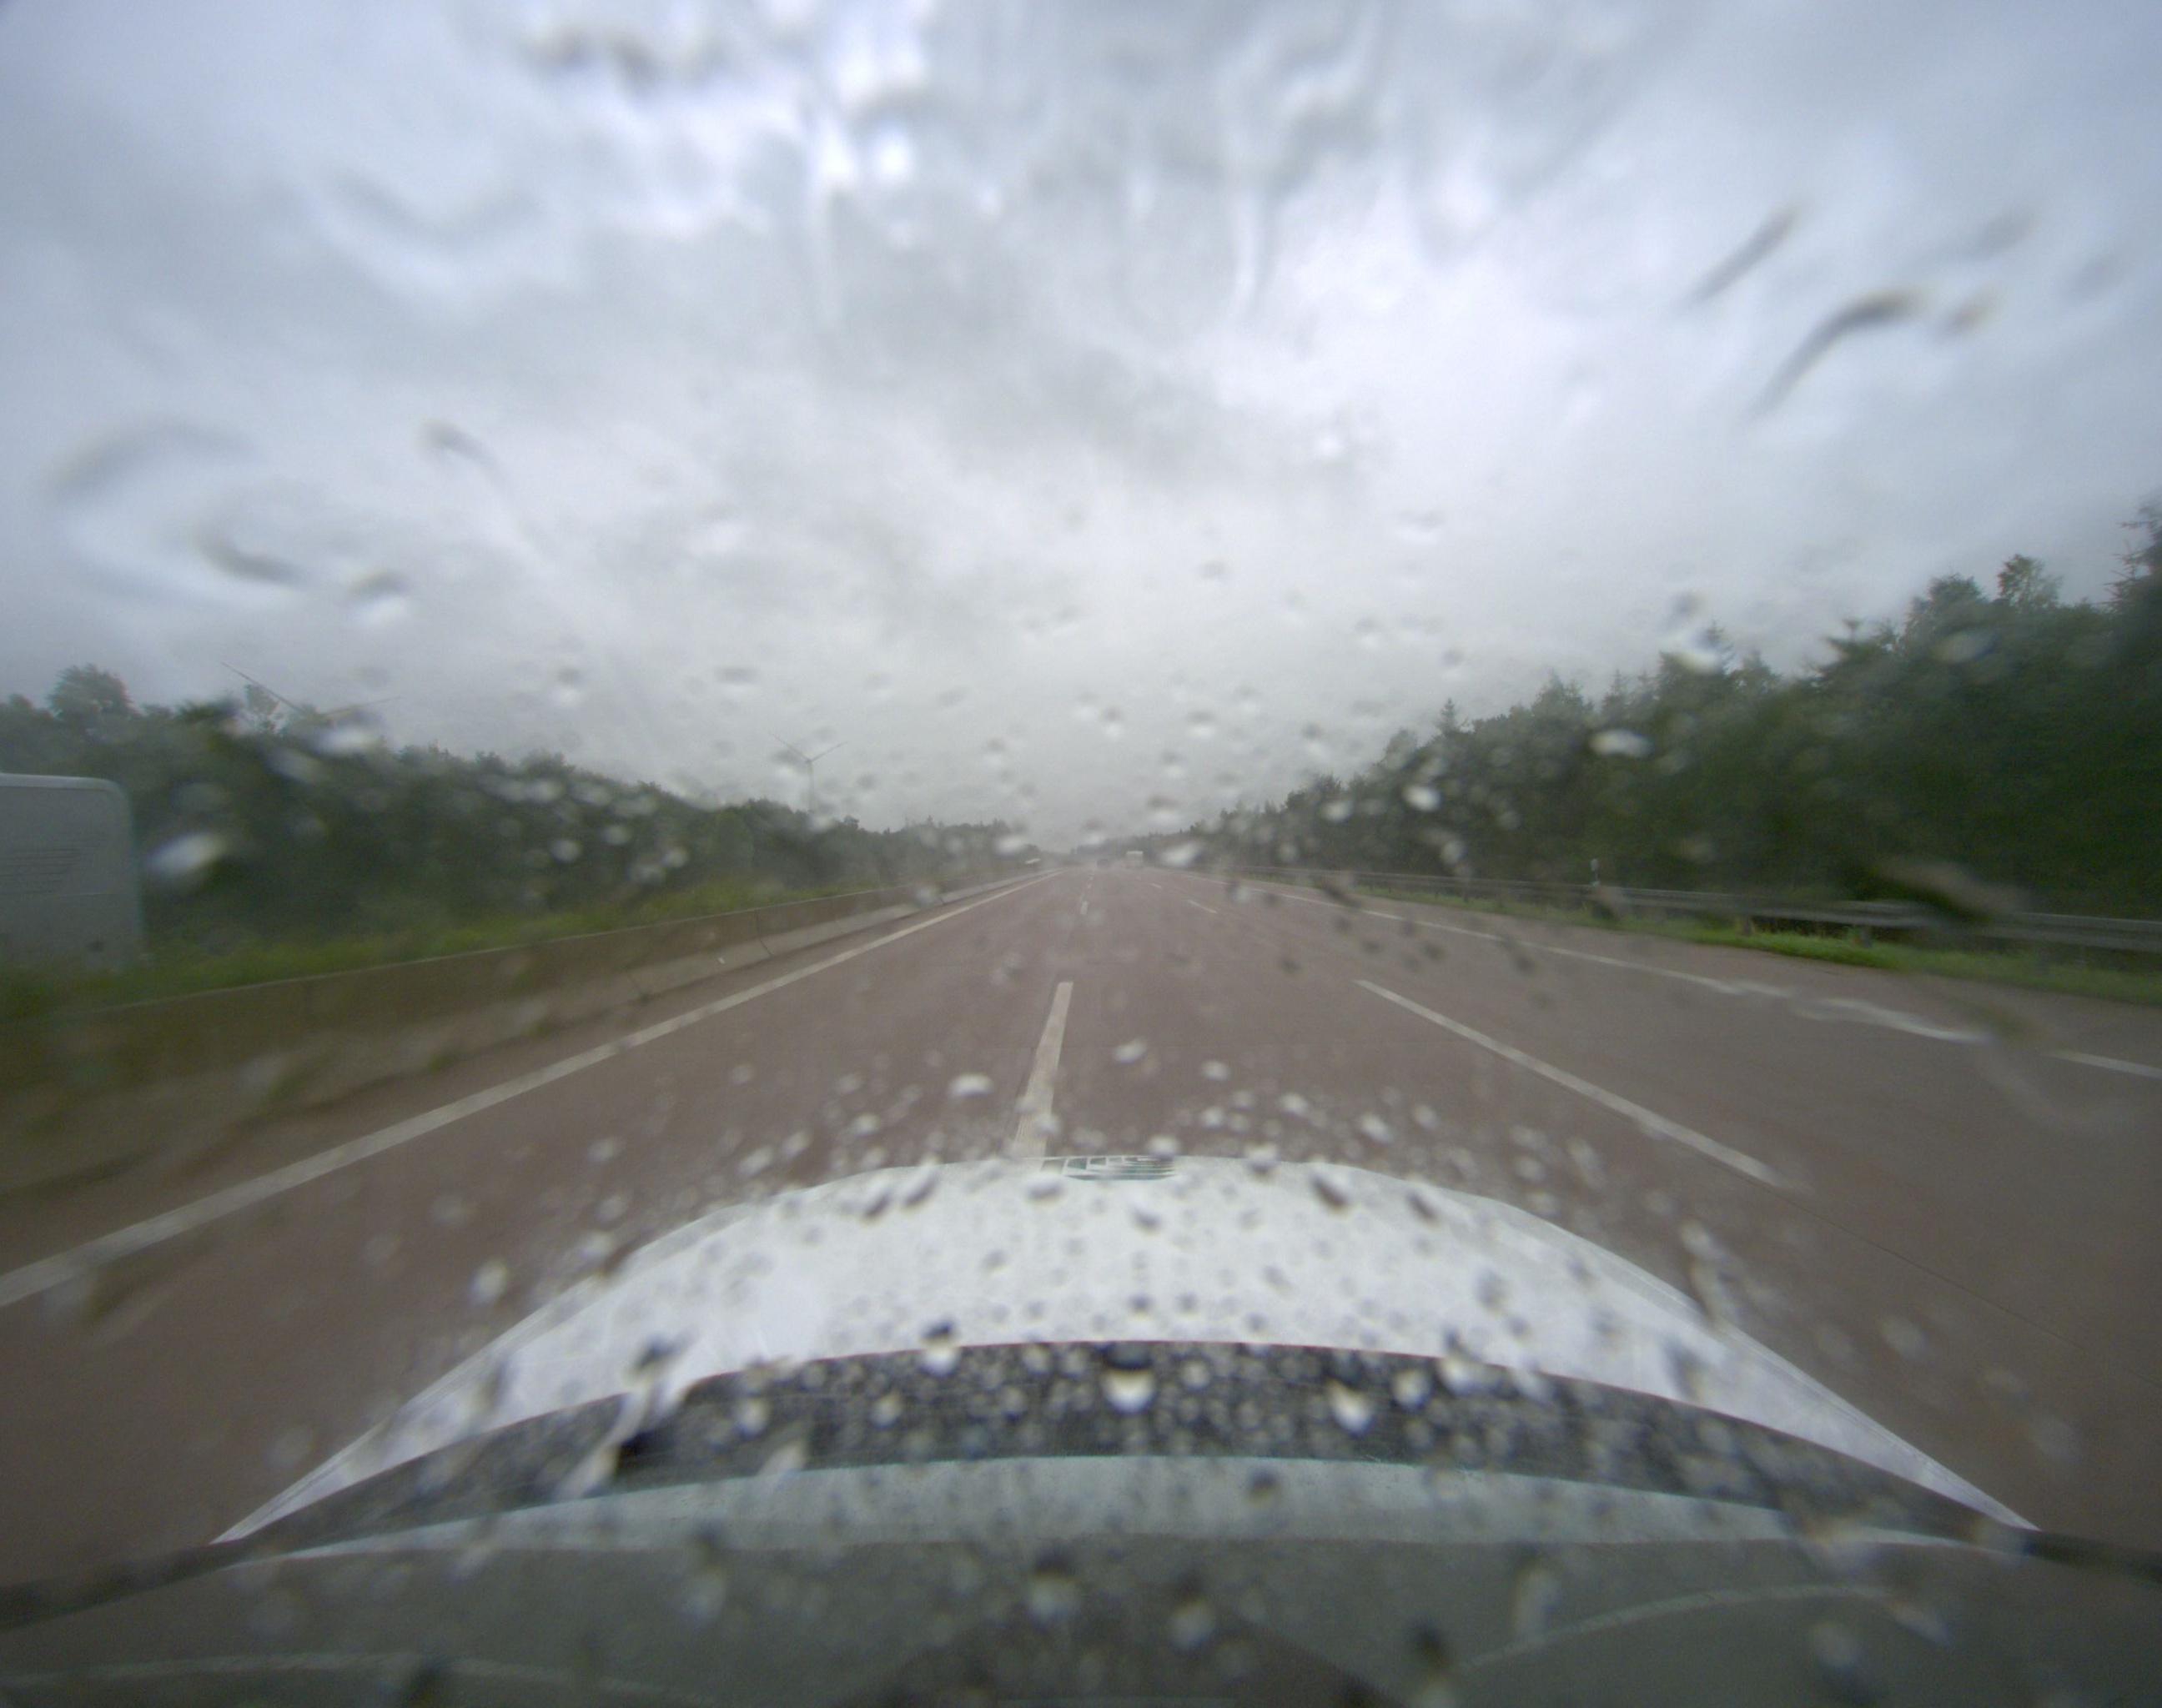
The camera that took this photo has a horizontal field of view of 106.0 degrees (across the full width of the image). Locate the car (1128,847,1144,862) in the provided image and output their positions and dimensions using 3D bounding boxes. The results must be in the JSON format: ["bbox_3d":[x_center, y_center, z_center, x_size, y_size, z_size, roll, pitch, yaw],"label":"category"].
[{"bbox_3d":[7.834,0.074,116.144,2.050,1.999,4.100,2,0,2],"label":"car"}]

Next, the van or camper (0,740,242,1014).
[{"bbox_3d":[-10.865,0.165,5.877,2.781,2.405,6.489,2,0,0],"label":"van or camper"}]

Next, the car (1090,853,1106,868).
[{"bbox_3d":[2.387,0.938,113.615,2.165,1.981,4.132,2,0,2],"label":"car"}]
